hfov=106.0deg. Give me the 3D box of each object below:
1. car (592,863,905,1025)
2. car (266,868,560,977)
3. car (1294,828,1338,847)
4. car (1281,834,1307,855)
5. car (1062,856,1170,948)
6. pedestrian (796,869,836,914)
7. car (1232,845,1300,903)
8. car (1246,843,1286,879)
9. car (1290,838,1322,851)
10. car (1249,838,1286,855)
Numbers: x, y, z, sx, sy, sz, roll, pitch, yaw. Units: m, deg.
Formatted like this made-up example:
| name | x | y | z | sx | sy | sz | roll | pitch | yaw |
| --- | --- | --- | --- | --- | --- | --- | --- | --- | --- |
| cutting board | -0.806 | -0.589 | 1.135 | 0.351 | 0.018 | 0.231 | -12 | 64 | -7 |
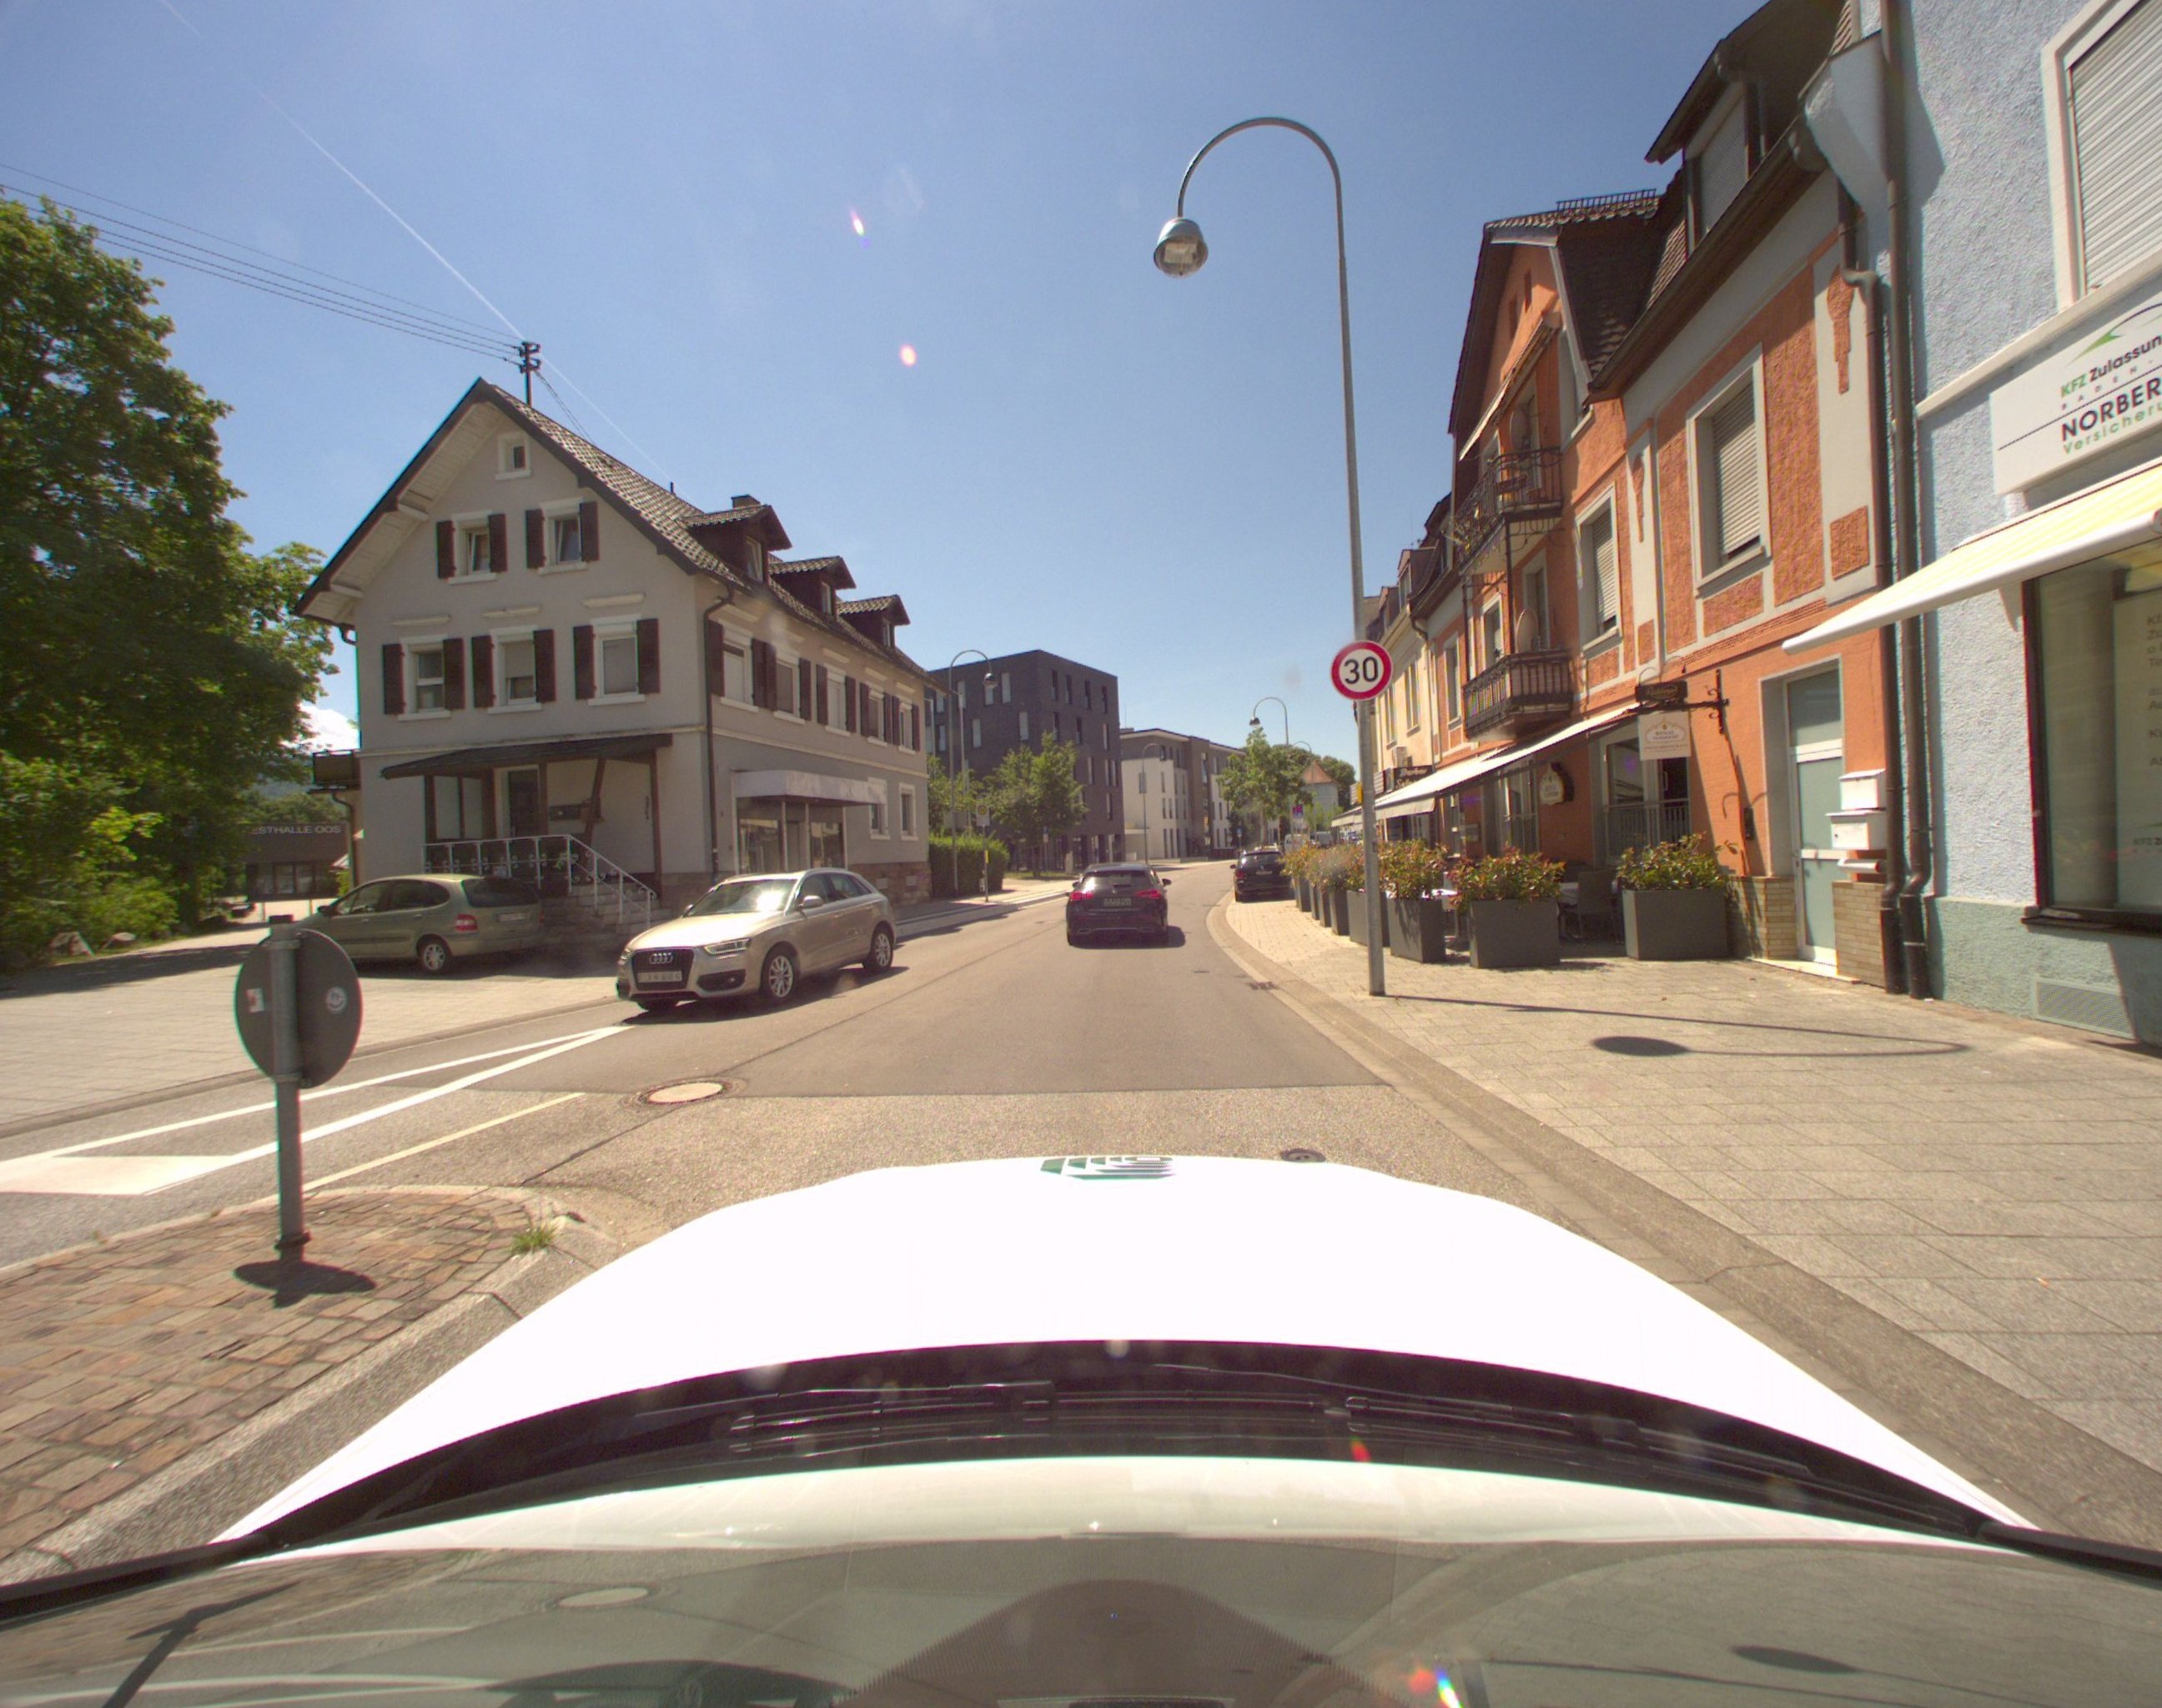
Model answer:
| name | x | y | z | sx | sy | sz | roll | pitch | yaw |
| --- | --- | --- | --- | --- | --- | --- | --- | --- | --- |
| car | -4.005 | 0.993 | 10.678 | 1.663 | 1.543 | 4.098 | -4 | 0 | 12 |
| car | -11.464 | 1.149 | 14.080 | 3.960 | 1.640 | 1.764 | -2 | 0 | 12 |
| car | 34.945 | -2.426 | 121.096 | 5.587 | 2.579 | 2.531 | -2 | 0 | 33 |
| car | 21.648 | -0.940 | 82.582 | 1.976 | 2.013 | 4.021 | -2 | 0 | 22 |
| car | 0.676 | 0.817 | 15.852 | 1.756 | 1.457 | 4.441 | -2 | 0 | 2 |
| pedestrian | -6.578 | 0.929 | 20.249 | 0.666 | 1.054 | 0.701 | -2 | 0 | 8 |
| car | 5.611 | 0.537 | 24.816 | 1.738 | 1.486 | 4.014 | -5 | -1 | 12 |
| car | 8.644 | 0.307 | 38.259 | 1.595 | 1.530 | 3.503 | -4 | 0 | 11 |
| car | 32.175 | -1.314 | 116.680 | 3.948 | 1.662 | 2.013 | -2 | 0 | 31 |
| car | 23.307 | -0.933 | 101.579 | 3.948 | 2.013 | 2.013 | -2 | 0 | 33 |
